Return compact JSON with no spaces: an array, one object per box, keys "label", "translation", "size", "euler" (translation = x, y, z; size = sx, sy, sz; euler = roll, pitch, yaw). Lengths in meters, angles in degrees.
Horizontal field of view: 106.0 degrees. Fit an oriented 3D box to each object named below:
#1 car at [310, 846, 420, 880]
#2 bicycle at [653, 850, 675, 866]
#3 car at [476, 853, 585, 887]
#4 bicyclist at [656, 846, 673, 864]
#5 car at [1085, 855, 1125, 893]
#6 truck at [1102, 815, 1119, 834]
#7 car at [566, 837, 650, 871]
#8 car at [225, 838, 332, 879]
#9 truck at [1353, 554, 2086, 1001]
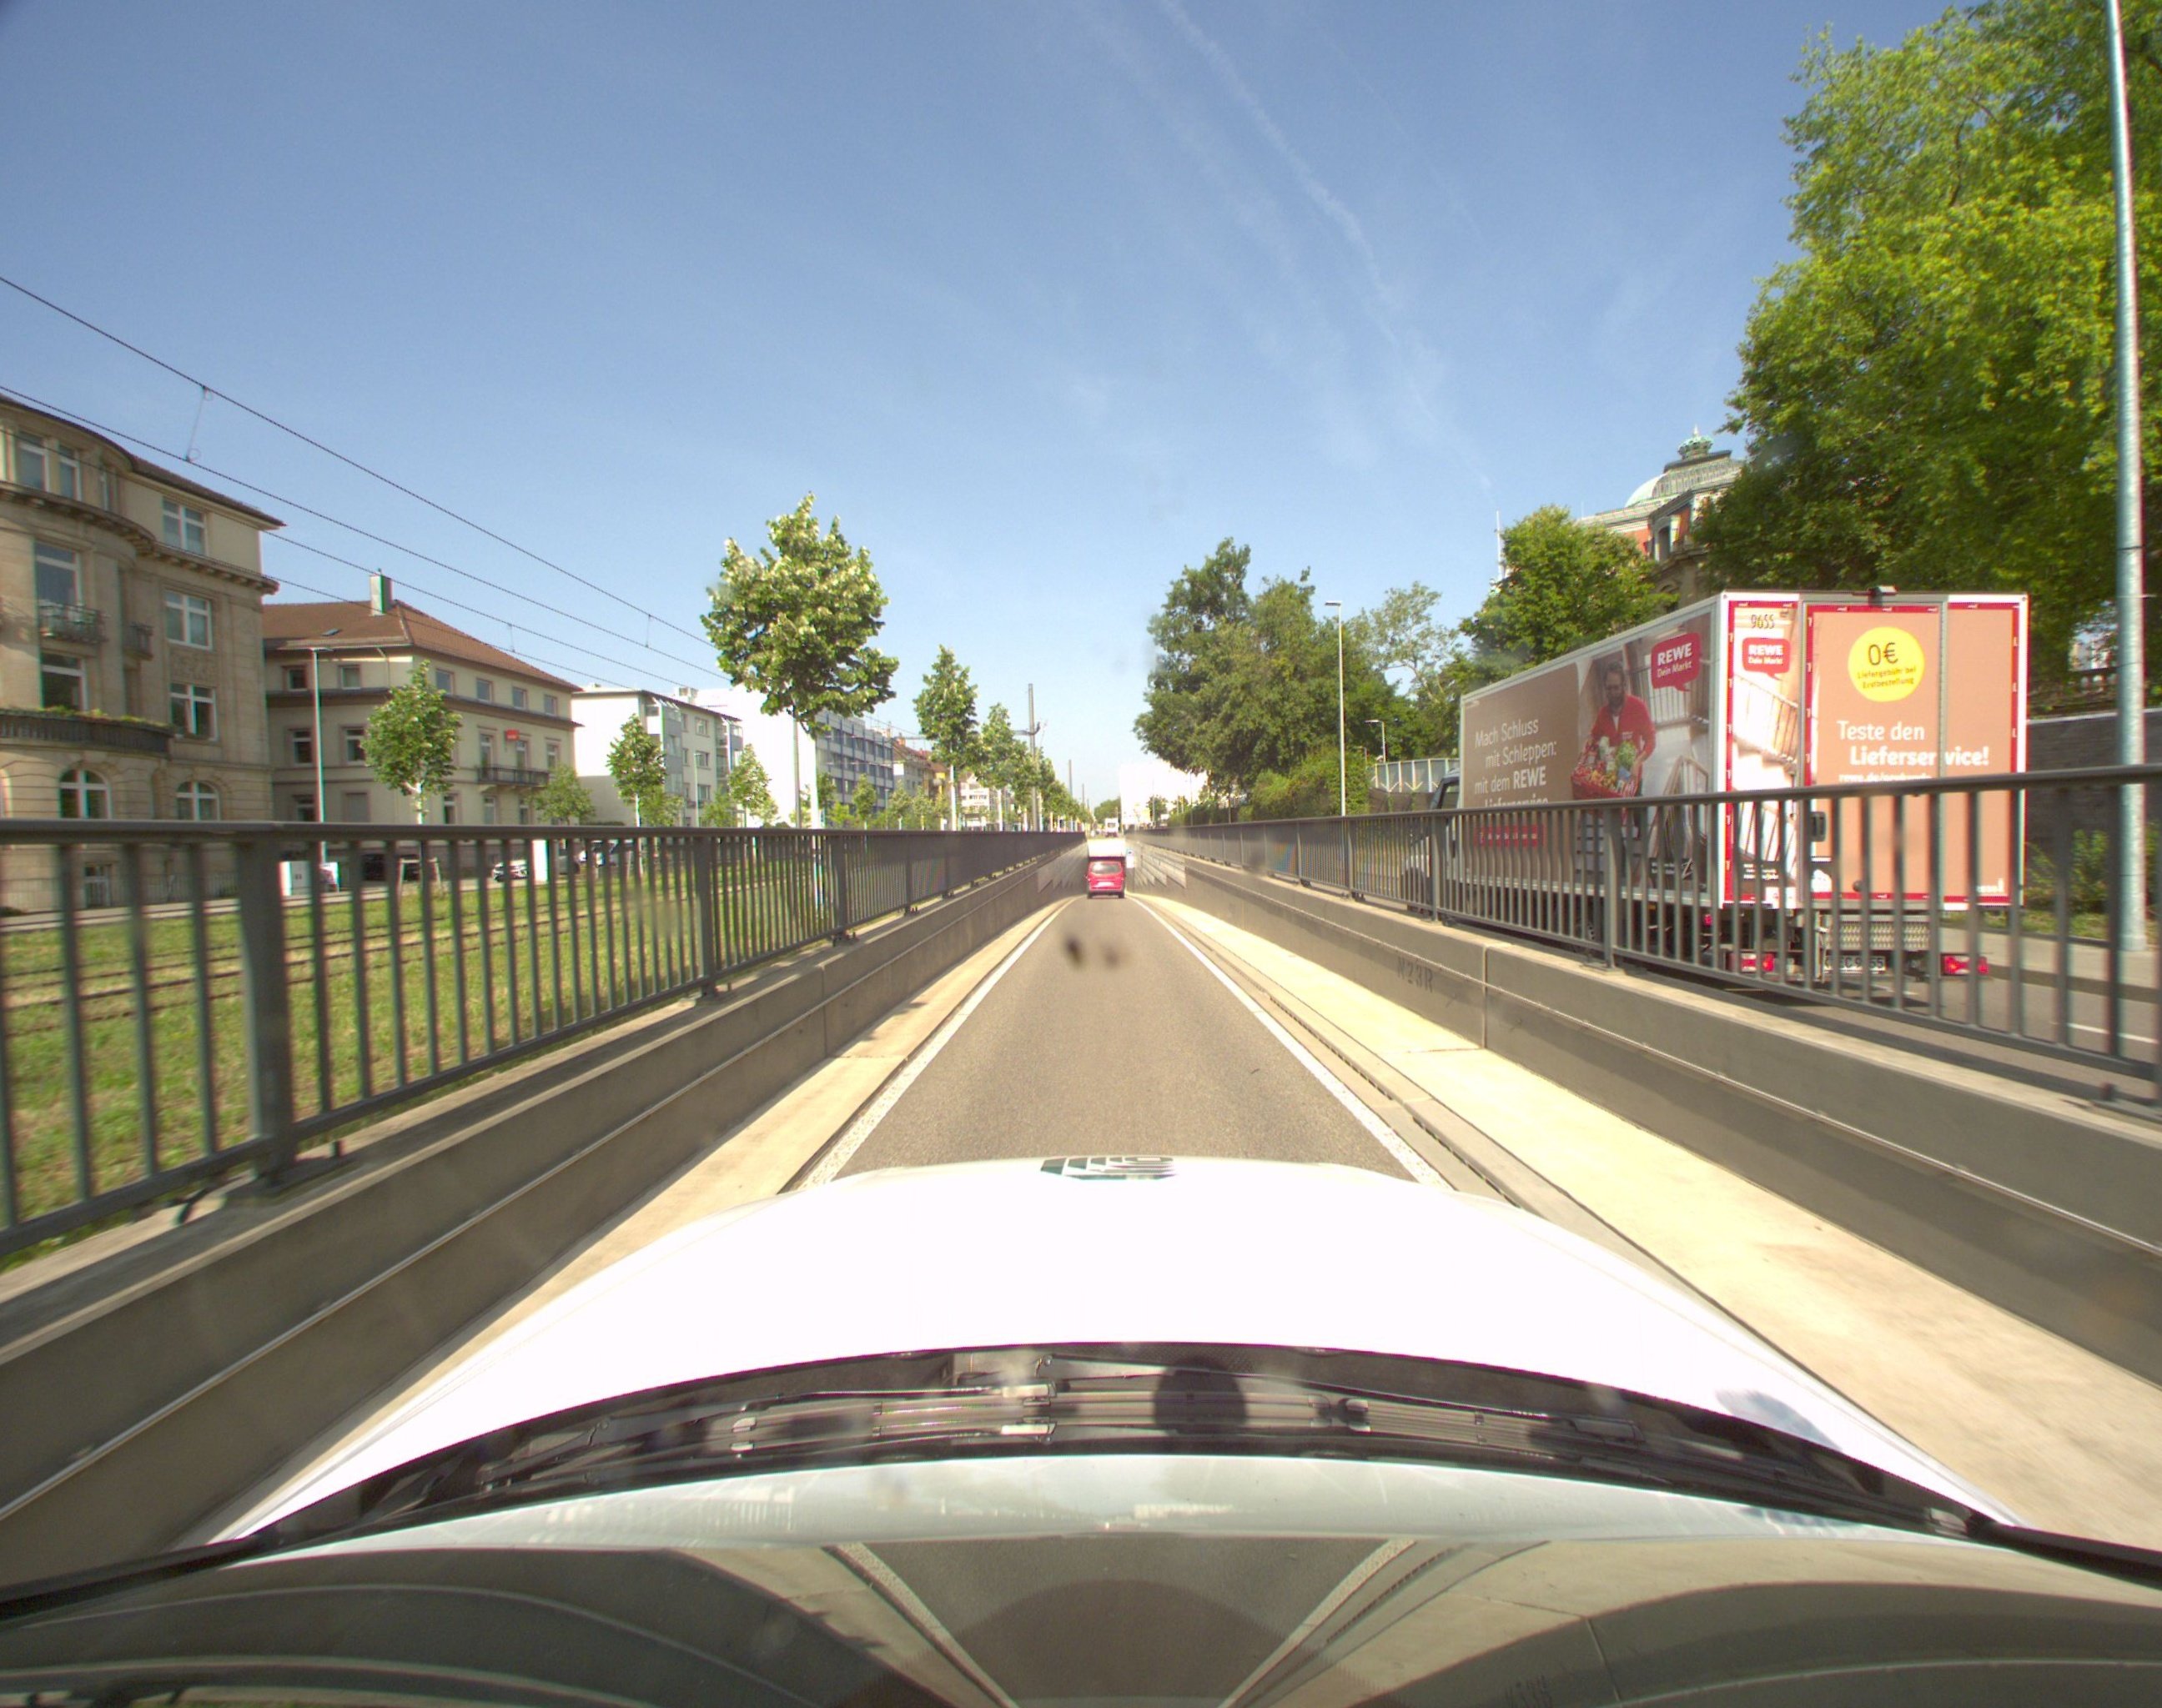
[{"label":"car","translation":[-36.392,0.449,41.465],"size":[3.977,1.552,1.653],"euler":[-2,1,-2]},{"label":"bicycle","translation":[-27.888,0.266,54.508],"size":[0.530,1.093,1.875],"euler":[0,0,0]},{"label":"car","translation":[-25.926,0.704,38.578],"size":[1.986,1.467,4.440],"euler":[-1,0,2]},{"label":"bicyclist","translation":[-27.882,0.056,54.529],"size":[0.530,1.178,1.251],"euler":[0,1,0]},{"label":"car","translation":[1.274,0.999,41.809],"size":[1.893,1.859,4.003],"euler":[-1,-1,3]},{"label":"truck","translation":[6.304,-6.297,174.442],"size":[3.378,3.725,10.456],"euler":[-2,1,1]},{"label":"car","translation":[-30.075,-0.006,52.040],"size":[2.242,2.013,5.263],"euler":[1,0,0]},{"label":"car","translation":[-41.193,0.221,41.837],"size":[3.907,2.014,1.602],"euler":[1,0,2]},{"label":"truck","translation":[5.706,-0.602,9.530],"size":[2.494,3.060,7.821],"euler":[0,1,1]}]
